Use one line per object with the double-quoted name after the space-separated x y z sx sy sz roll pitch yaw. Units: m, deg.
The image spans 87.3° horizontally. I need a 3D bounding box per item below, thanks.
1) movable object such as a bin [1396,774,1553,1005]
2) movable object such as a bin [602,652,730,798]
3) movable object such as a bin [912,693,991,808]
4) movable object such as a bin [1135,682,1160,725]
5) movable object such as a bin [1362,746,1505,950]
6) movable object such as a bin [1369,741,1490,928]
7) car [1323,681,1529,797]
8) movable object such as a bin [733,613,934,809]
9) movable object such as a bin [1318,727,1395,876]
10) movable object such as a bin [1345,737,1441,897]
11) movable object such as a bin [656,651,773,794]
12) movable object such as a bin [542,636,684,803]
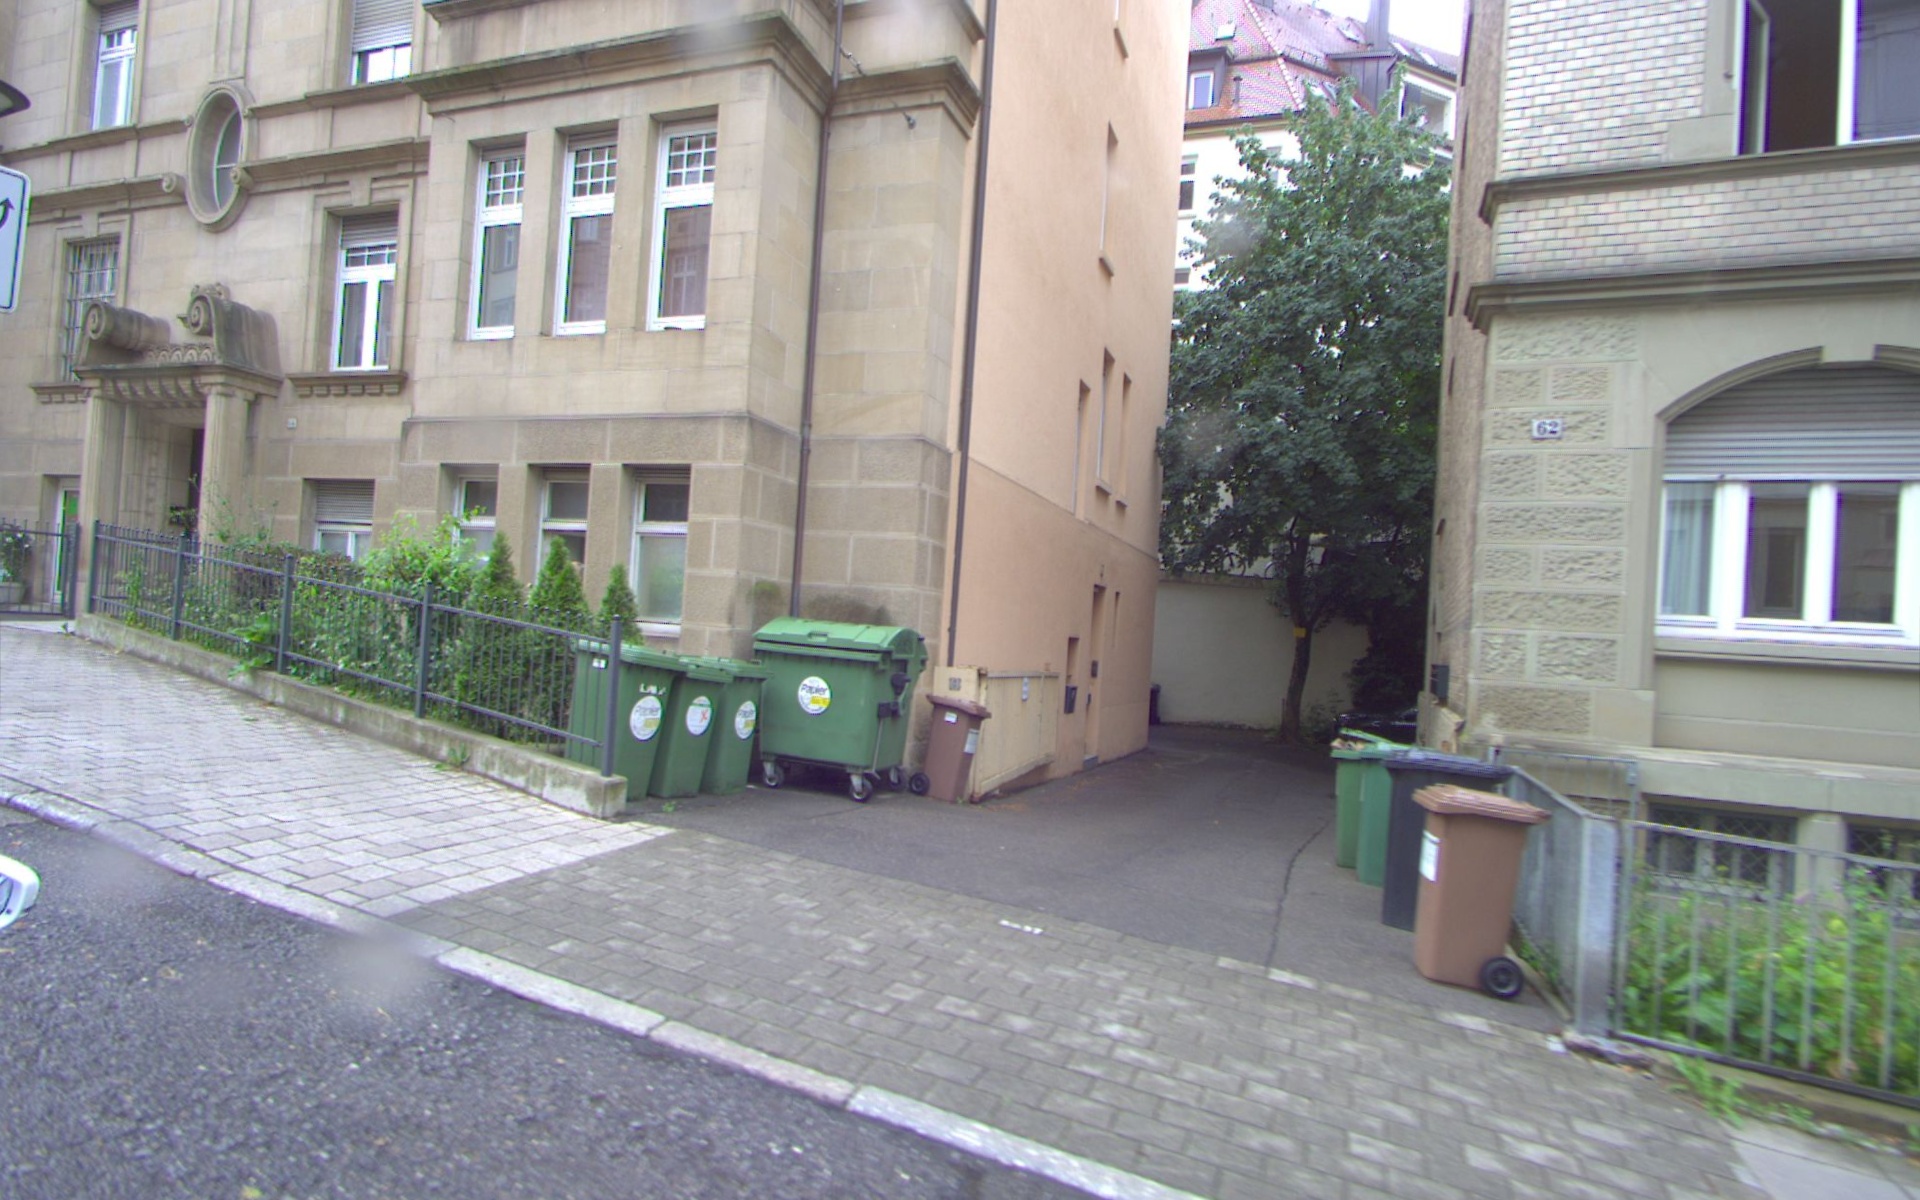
2.501 1.387 4.932 0.527 0.932 0.427 7 2 20 "movable object such as a bin"
-2.176 0.923 7.488 0.593 0.978 0.540 6 -4 20 "movable object such as a bin"
-0.073 1.363 9.164 0.510 0.952 0.395 6 -4 20 "movable object such as a bin"
5.067 2.786 27.188 0.532 1.053 0.563 4 4 20 "movable object such as a bin"
2.850 1.447 6.035 0.653 1.041 0.529 6 -4 30 "movable object such as a bin"
3.073 1.506 6.620 0.598 1.072 0.501 6 -3 24 "movable object such as a bin"
10.673 3.104 23.168 3.930 1.530 1.796 13 5 28 "car"
-1.060 0.944 8.669 1.256 1.446 0.976 6 -4 20 "movable object such as a bin"
3.285 1.643 8.326 0.469 1.113 0.521 6 -3 23 "movable object such as a bin"
3.259 1.610 7.592 0.545 1.072 0.498 6 -3 24 "movable object such as a bin"
-1.966 0.979 8.097 0.593 1.036 0.540 6 -4 20 "movable object such as a bin"
-2.382 0.816 6.946 0.593 1.036 0.540 6 -4 20 "movable object such as a bin"
